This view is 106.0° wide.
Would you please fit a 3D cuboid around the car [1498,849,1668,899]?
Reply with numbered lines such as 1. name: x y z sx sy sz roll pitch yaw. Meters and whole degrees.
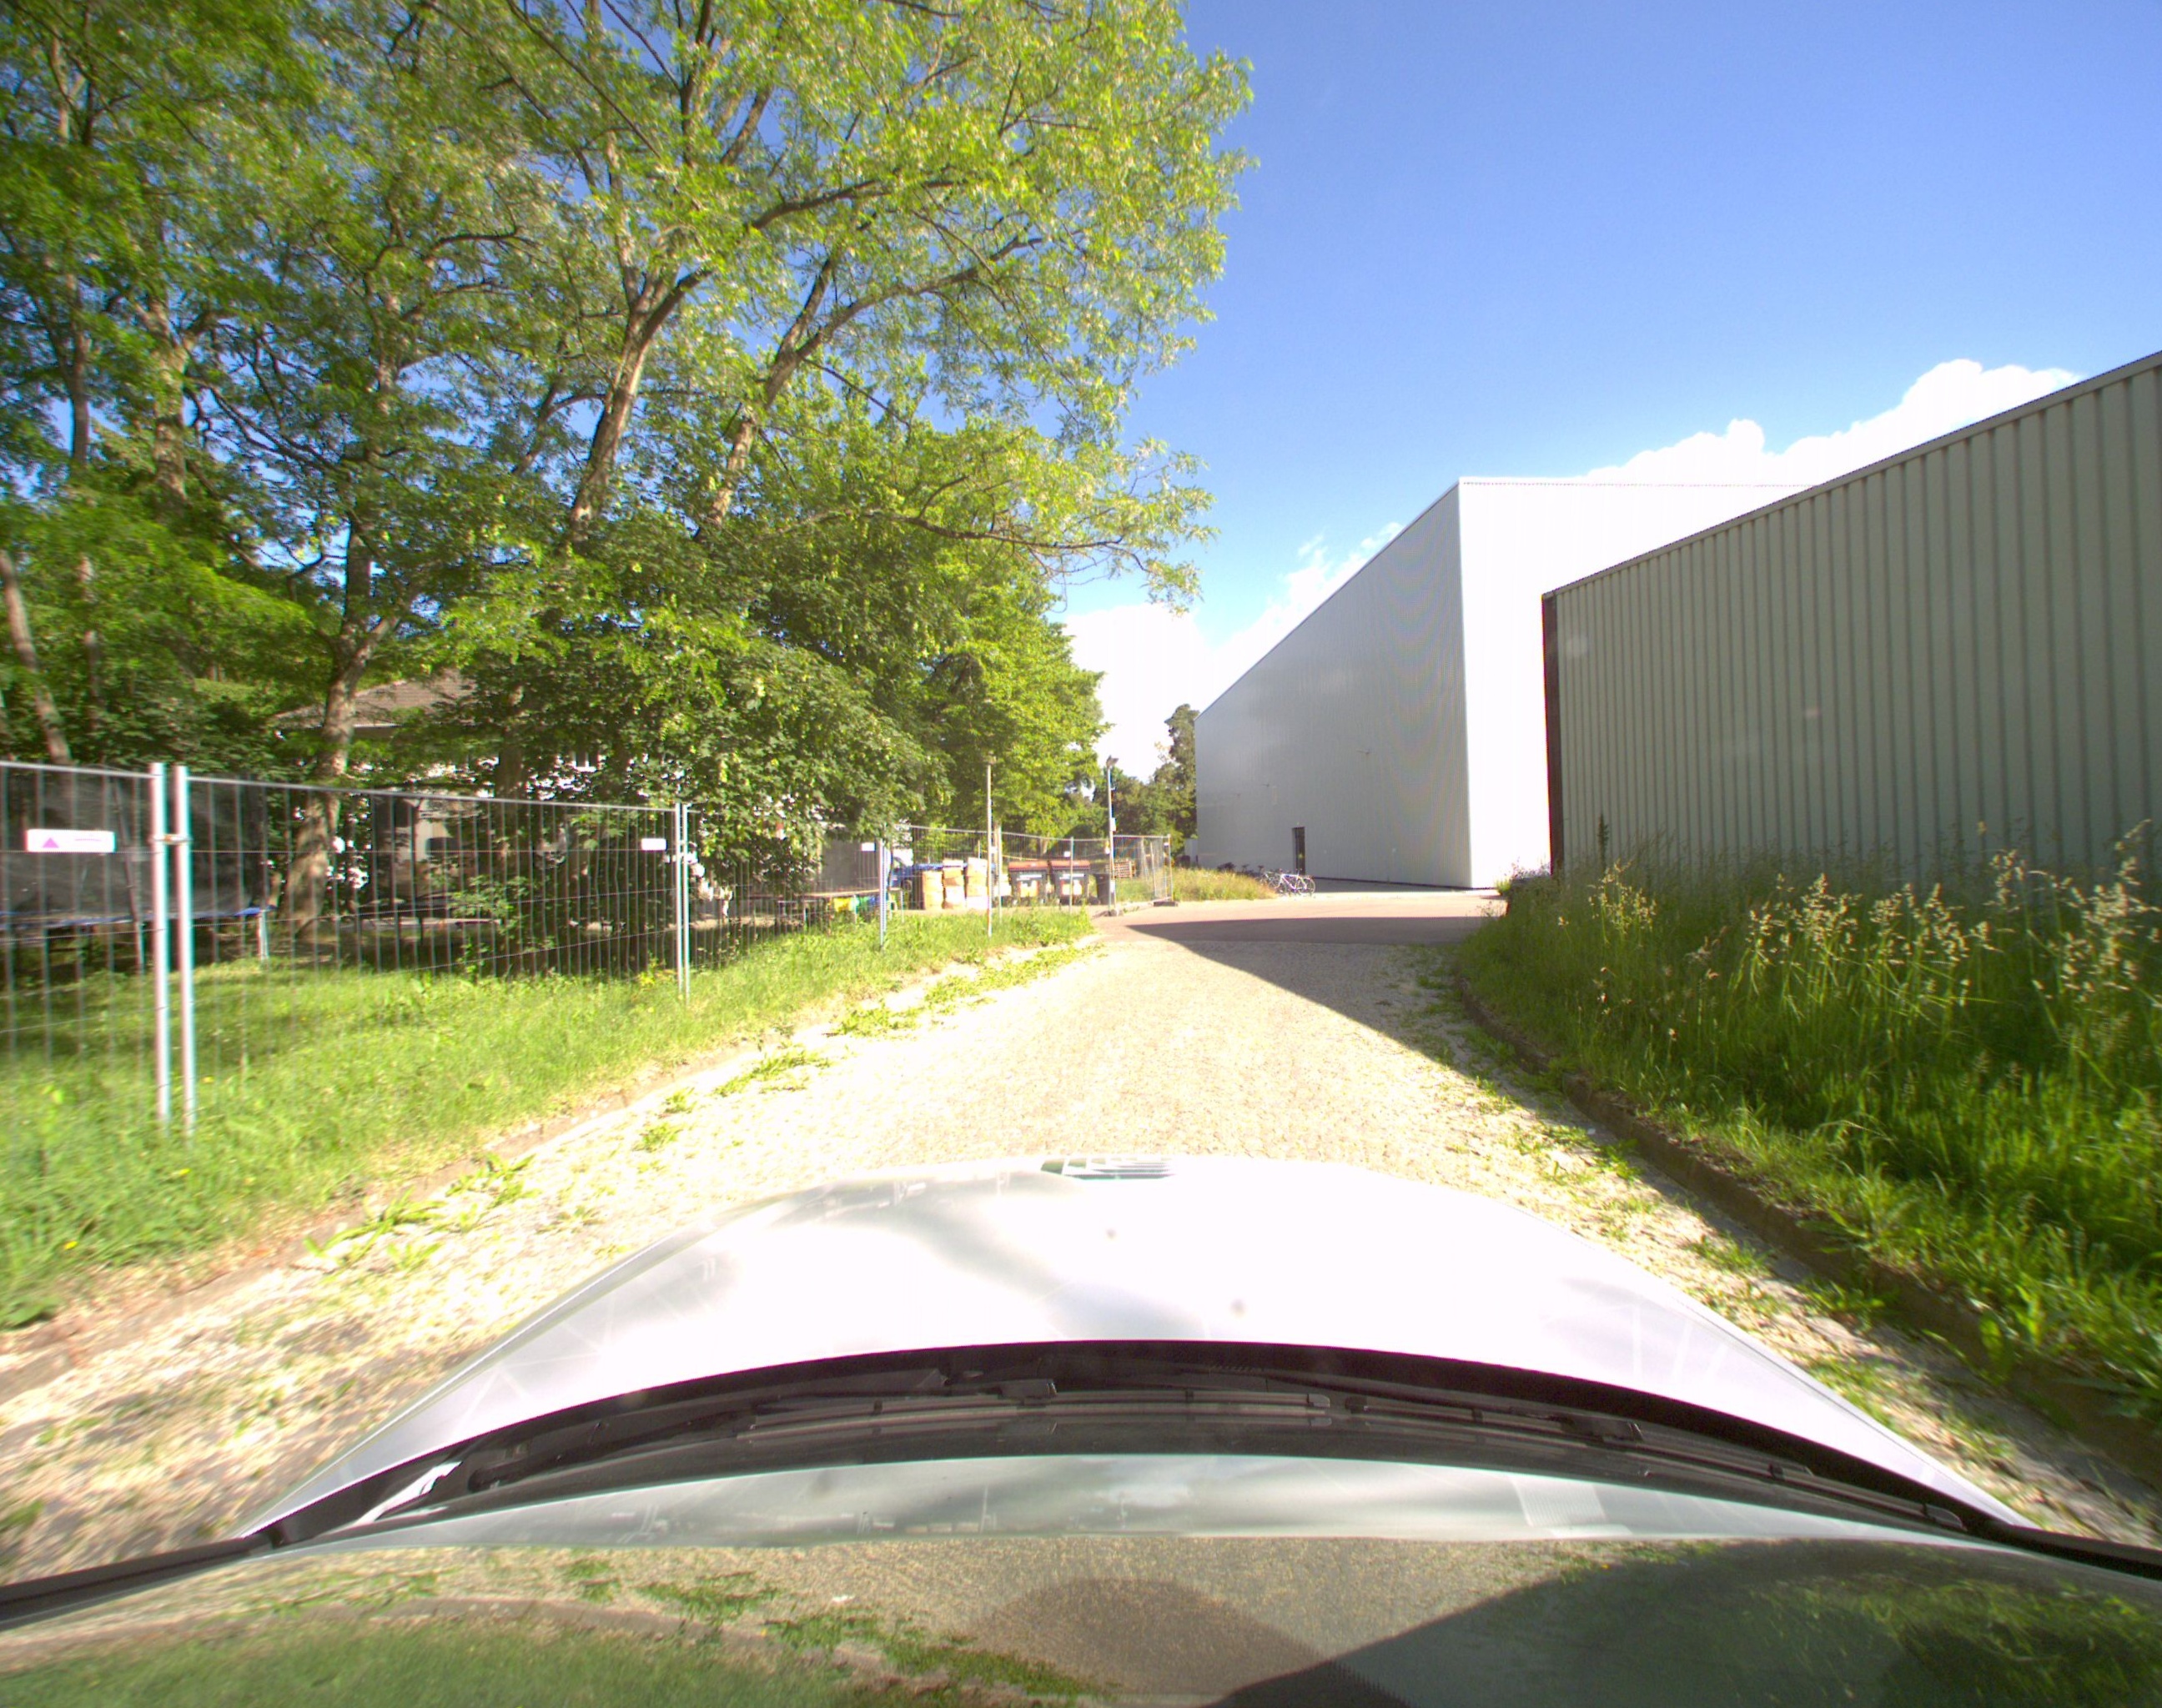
1. car: 14.982 0.568 24.420 4.148 1.384 1.752 -1 0 -5

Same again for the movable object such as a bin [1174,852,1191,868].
1. movable object such as a bin: 10.767 0.675 86.238 1.359 1.656 2.840 -2 -1 -1

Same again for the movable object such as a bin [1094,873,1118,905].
1. movable object such as a bin: 0.813 1.111 26.062 0.637 1.007 0.607 -2 -1 12

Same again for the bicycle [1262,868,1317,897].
1. bicycle: 7.522 1.016 29.369 1.880 0.978 0.432 -2 -1 -5

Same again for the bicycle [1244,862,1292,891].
1. bicycle: 7.880 0.948 34.356 1.880 1.126 0.432 -2 -1 -5

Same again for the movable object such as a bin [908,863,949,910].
1. movable object such as a bin: -4.802 1.014 25.725 1.081 1.438 1.055 -2 -1 -2

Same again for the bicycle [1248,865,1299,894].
1. bicycle: 7.517 0.998 31.862 1.880 1.082 0.432 -2 -1 -5

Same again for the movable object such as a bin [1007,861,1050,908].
1. movable object such as a bin: -1.683 0.969 26.011 1.286 1.426 1.030 -2 -1 -6

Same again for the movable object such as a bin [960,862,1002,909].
1. movable object such as a bin: -3.168 0.980 25.902 1.286 1.426 1.030 -2 -1 -6

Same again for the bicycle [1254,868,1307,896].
1. bicycle: 7.485 1.036 30.559 1.880 0.978 0.432 -2 -1 -5

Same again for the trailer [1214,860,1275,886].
1. trailer: 8.011 0.917 40.067 2.706 1.200 1.244 -2 -1 -5

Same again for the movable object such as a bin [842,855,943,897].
1. movable object such as a bin: -9.716 1.105 42.263 4.865 1.970 1.928 -2 -1 -6

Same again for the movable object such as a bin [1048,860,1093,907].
1. movable object such as a bin: -0.349 0.930 26.178 1.286 1.426 1.030 -2 -1 -8
